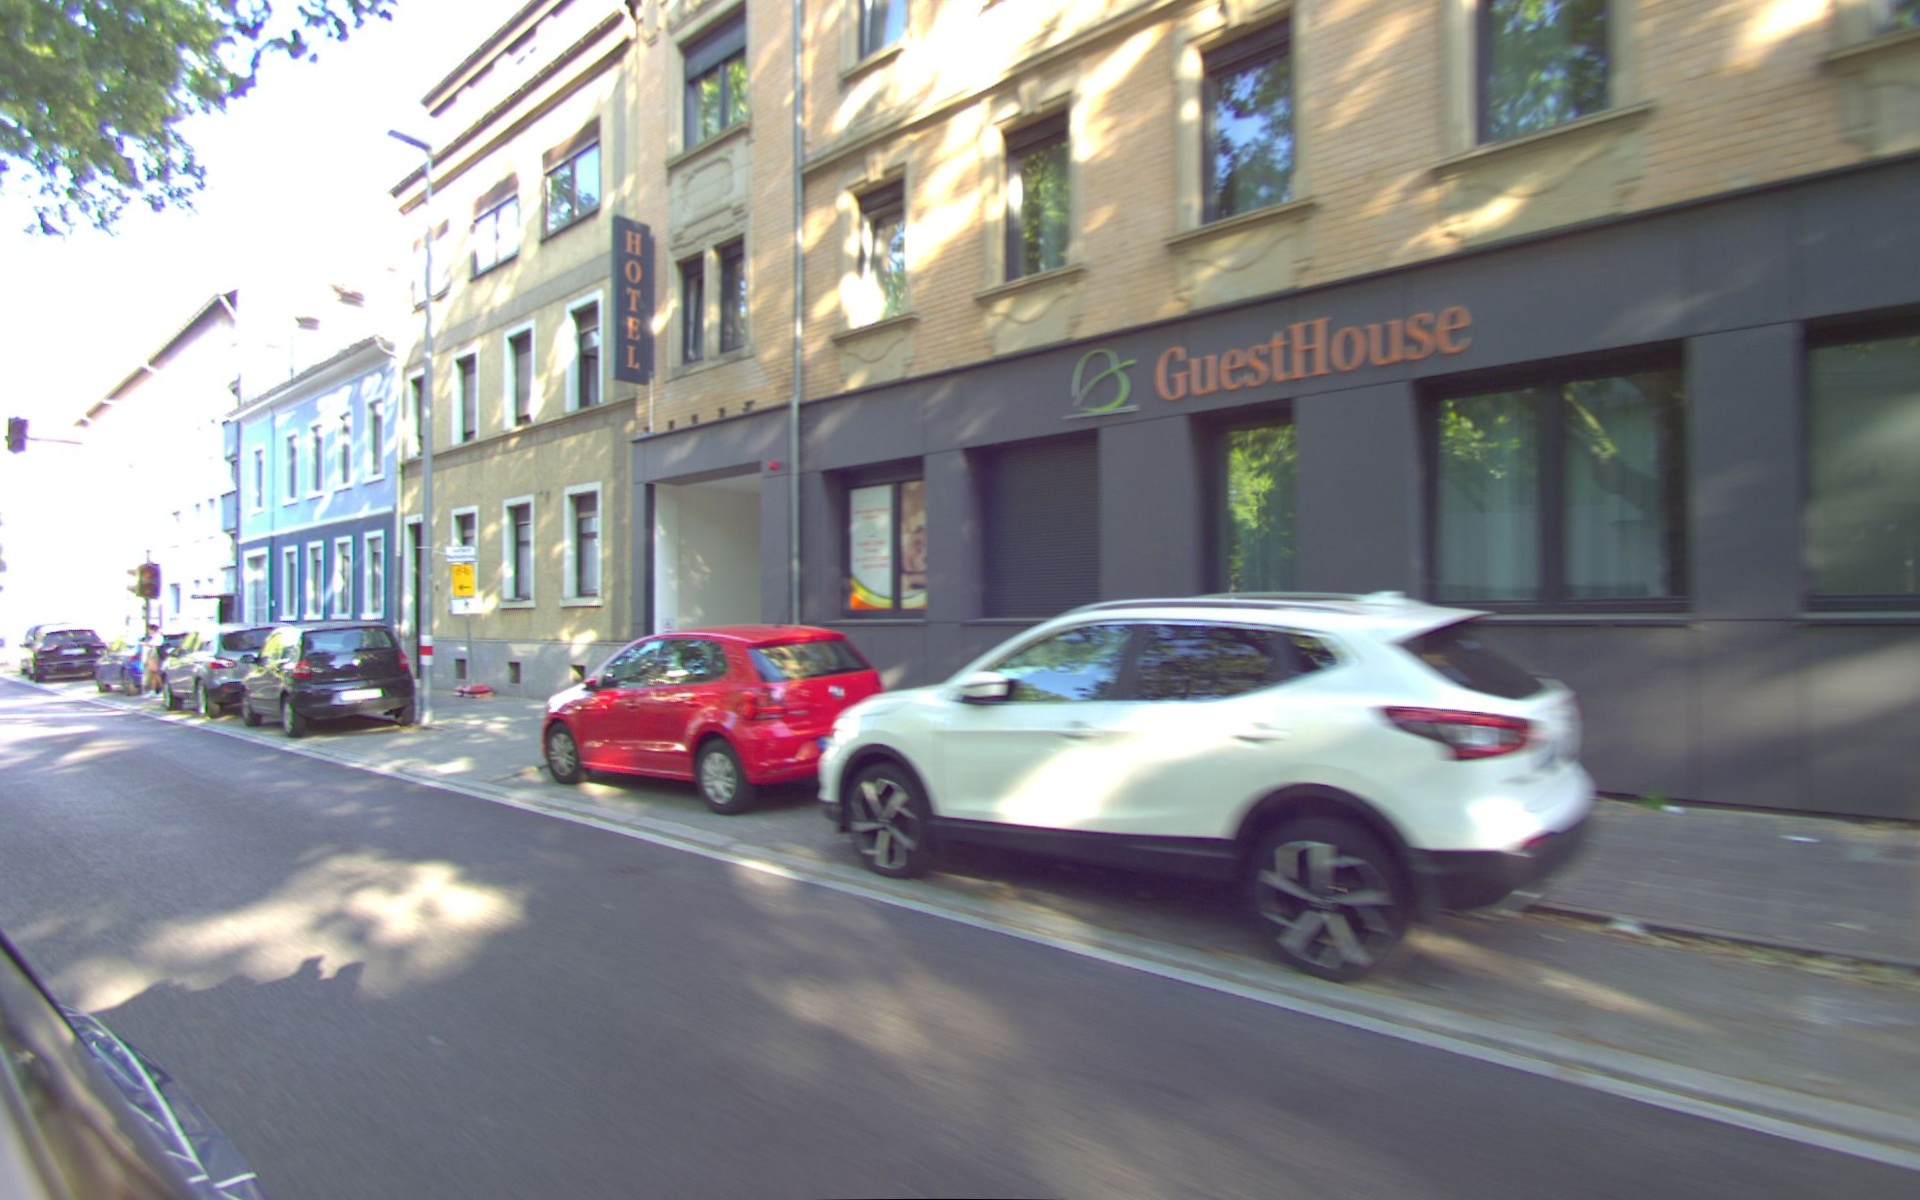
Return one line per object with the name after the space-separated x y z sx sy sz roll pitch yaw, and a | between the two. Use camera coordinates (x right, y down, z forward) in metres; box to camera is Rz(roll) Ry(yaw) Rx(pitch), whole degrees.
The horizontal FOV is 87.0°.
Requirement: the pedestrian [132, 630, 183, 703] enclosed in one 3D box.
-17.801 1.458 22.459 0.852 1.582 0.707 1 -3 -39 | pedestrian

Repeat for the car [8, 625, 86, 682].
-31.889 1.820 35.318 4.004 1.832 1.646 -2 -1 43 | car

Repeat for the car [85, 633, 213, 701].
-20.019 1.588 24.920 4.258 1.498 1.633 -2 -1 40 | car

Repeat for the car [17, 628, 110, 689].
-27.990 1.766 31.550 4.494 1.685 1.884 -2 -1 45 | car

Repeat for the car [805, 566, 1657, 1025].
1.158 0.722 5.554 4.198 1.597 1.660 -2 -1 42 | car

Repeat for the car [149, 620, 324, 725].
-13.450 1.258 18.724 4.154 1.685 1.763 -2 -1 42 | car

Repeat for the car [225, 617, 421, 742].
-9.745 1.113 15.378 3.706 1.617 1.659 -2 -1 44 | car

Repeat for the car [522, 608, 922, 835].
-2.278 0.924 9.169 3.755 1.604 1.660 -2 -1 42 | car
